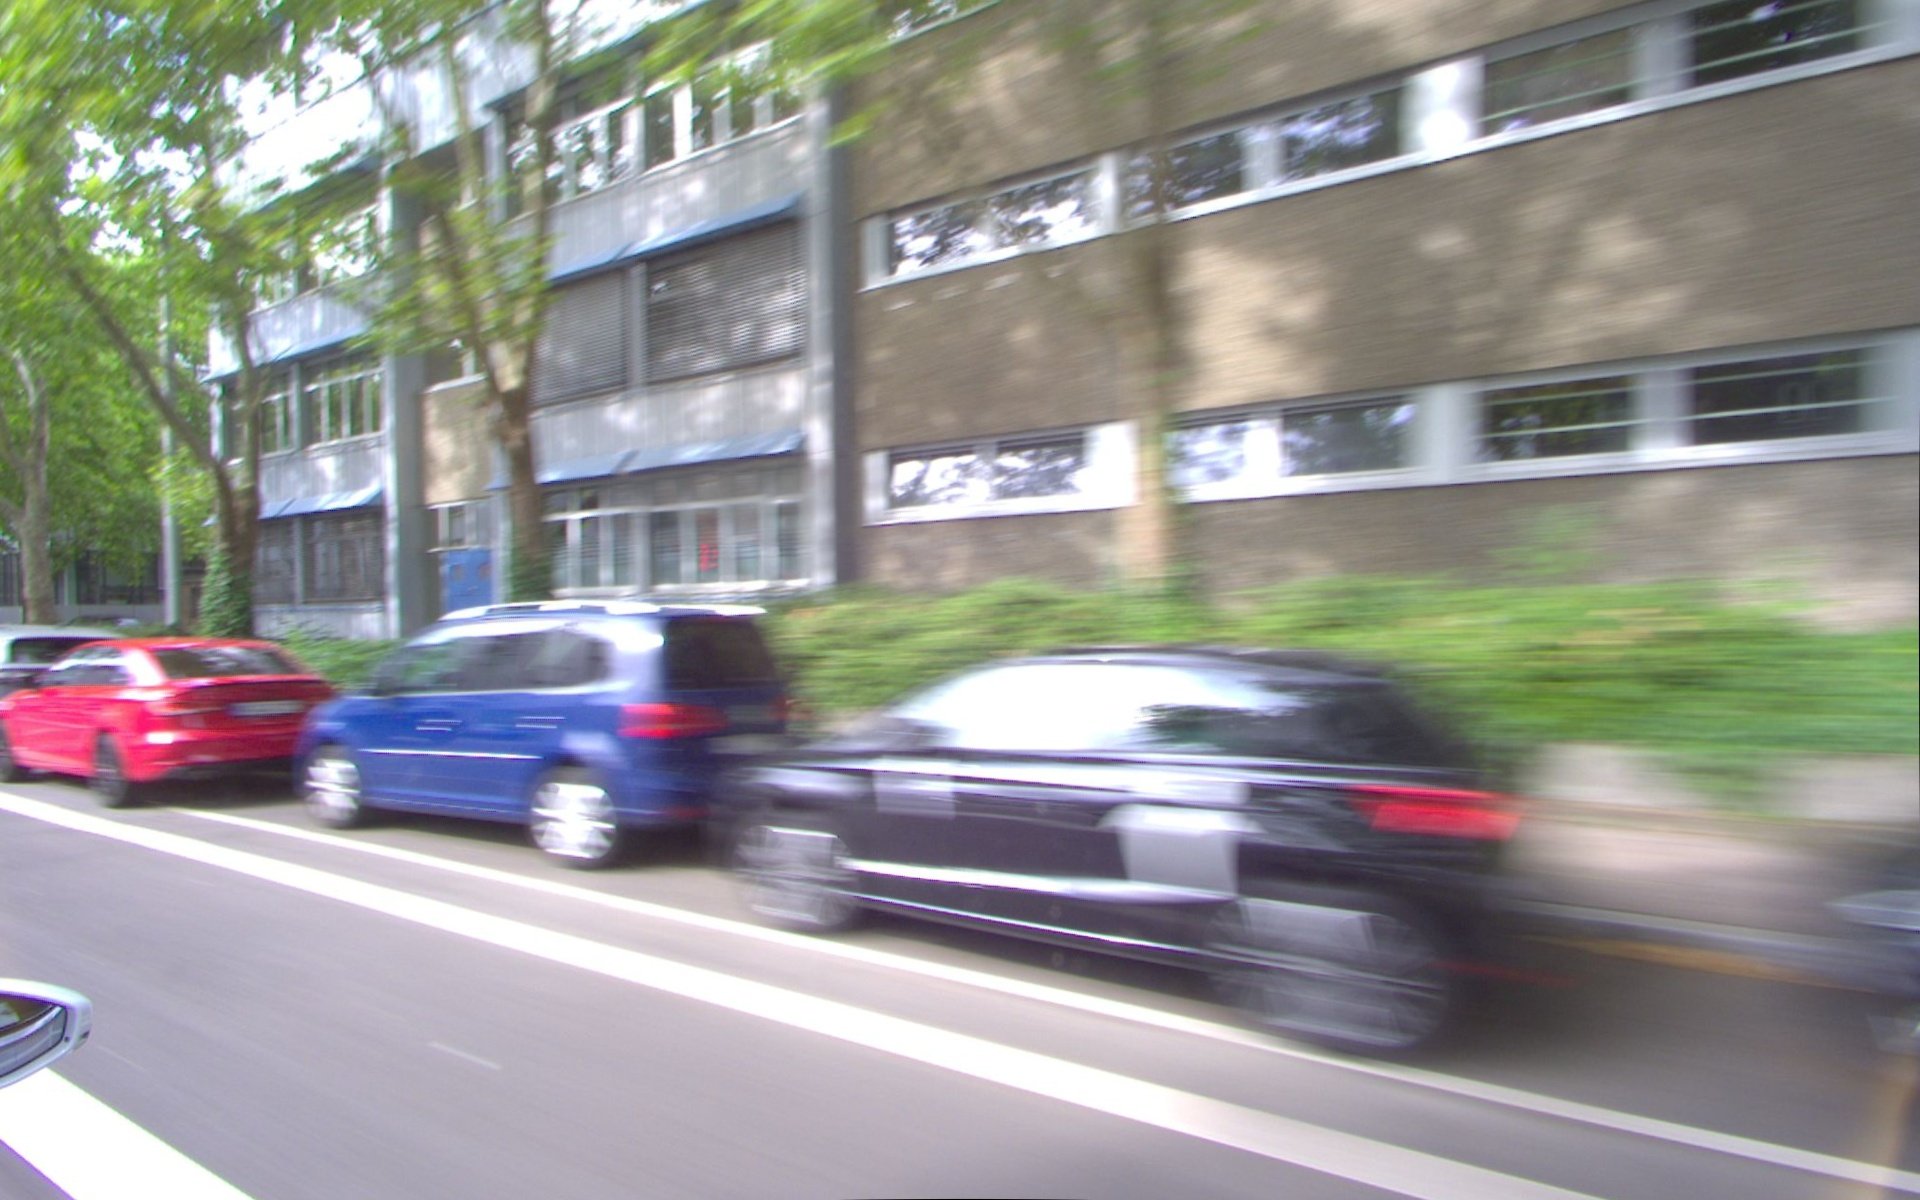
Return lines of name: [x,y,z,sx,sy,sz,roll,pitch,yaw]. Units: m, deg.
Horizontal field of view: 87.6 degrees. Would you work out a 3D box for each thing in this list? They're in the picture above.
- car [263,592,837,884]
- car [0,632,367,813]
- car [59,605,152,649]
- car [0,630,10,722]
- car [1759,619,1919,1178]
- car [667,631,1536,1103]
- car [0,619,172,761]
car: [-3.186,0.843,7.554,4.352,1.672,1.656,-1,-2,29]
car: [-7.844,1.030,9.788,4.396,1.412,1.673,-1,-1,31]
car: [-30.982,0.976,36.273,3.860,1.477,1.469,1,-1,32]
car: [-16.662,1.152,15.759,3.945,1.403,1.619,-1,-3,34]
car: [4.457,0.795,2.365,3.810,1.441,1.654,0,0,32]
car: [0.529,0.896,4.904,3.892,1.440,1.654,-1,-2,34]
car: [-12.107,1.046,12.740,4.801,1.536,1.725,-1,-2,31]
